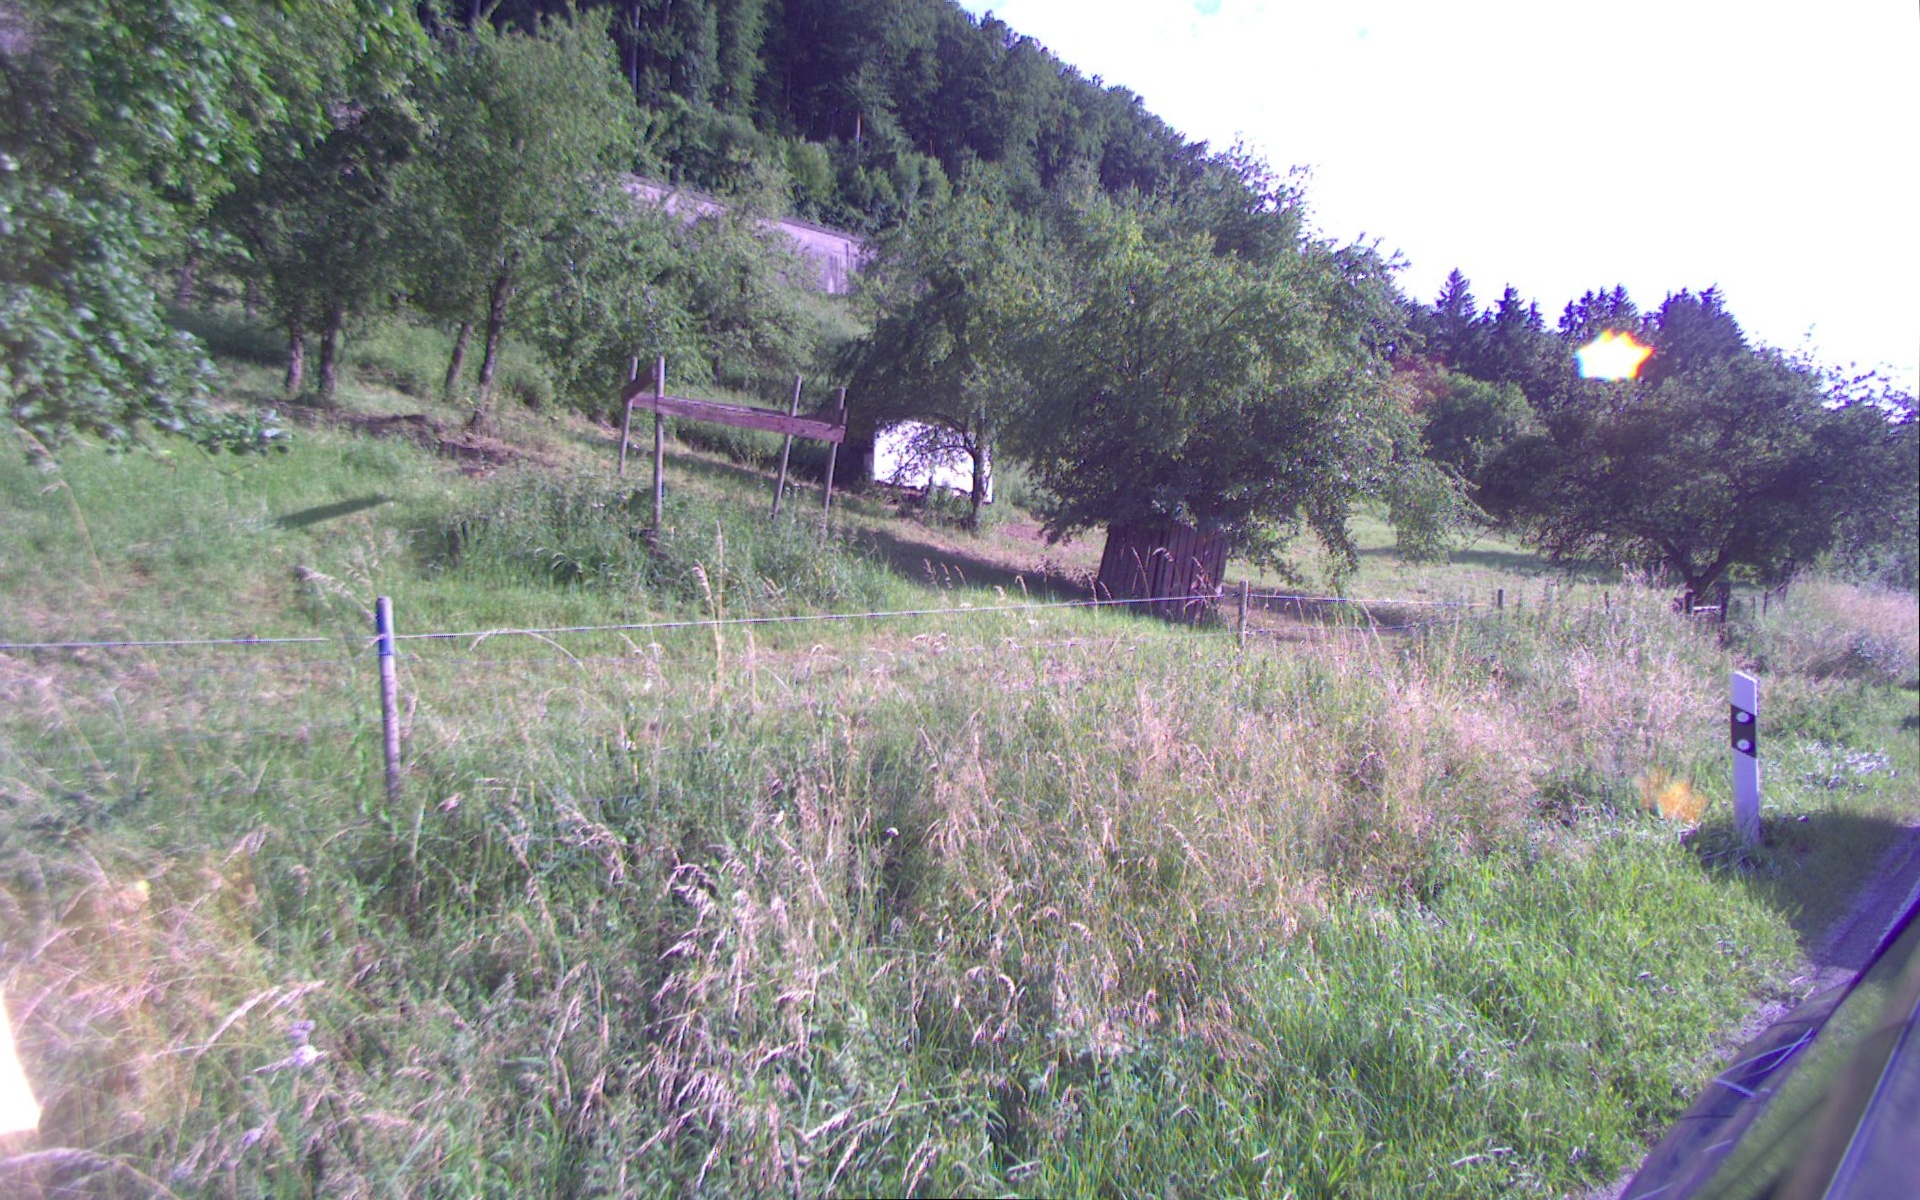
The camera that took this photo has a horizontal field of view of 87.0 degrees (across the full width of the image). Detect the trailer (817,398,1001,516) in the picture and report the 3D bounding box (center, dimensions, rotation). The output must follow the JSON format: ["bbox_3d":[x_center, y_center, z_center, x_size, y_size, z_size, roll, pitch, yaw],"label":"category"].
[{"bbox_3d":[-1.402,-4.030,29.656,5.160,2.590,2.154,4,0,-45],"label":"trailer"}]
